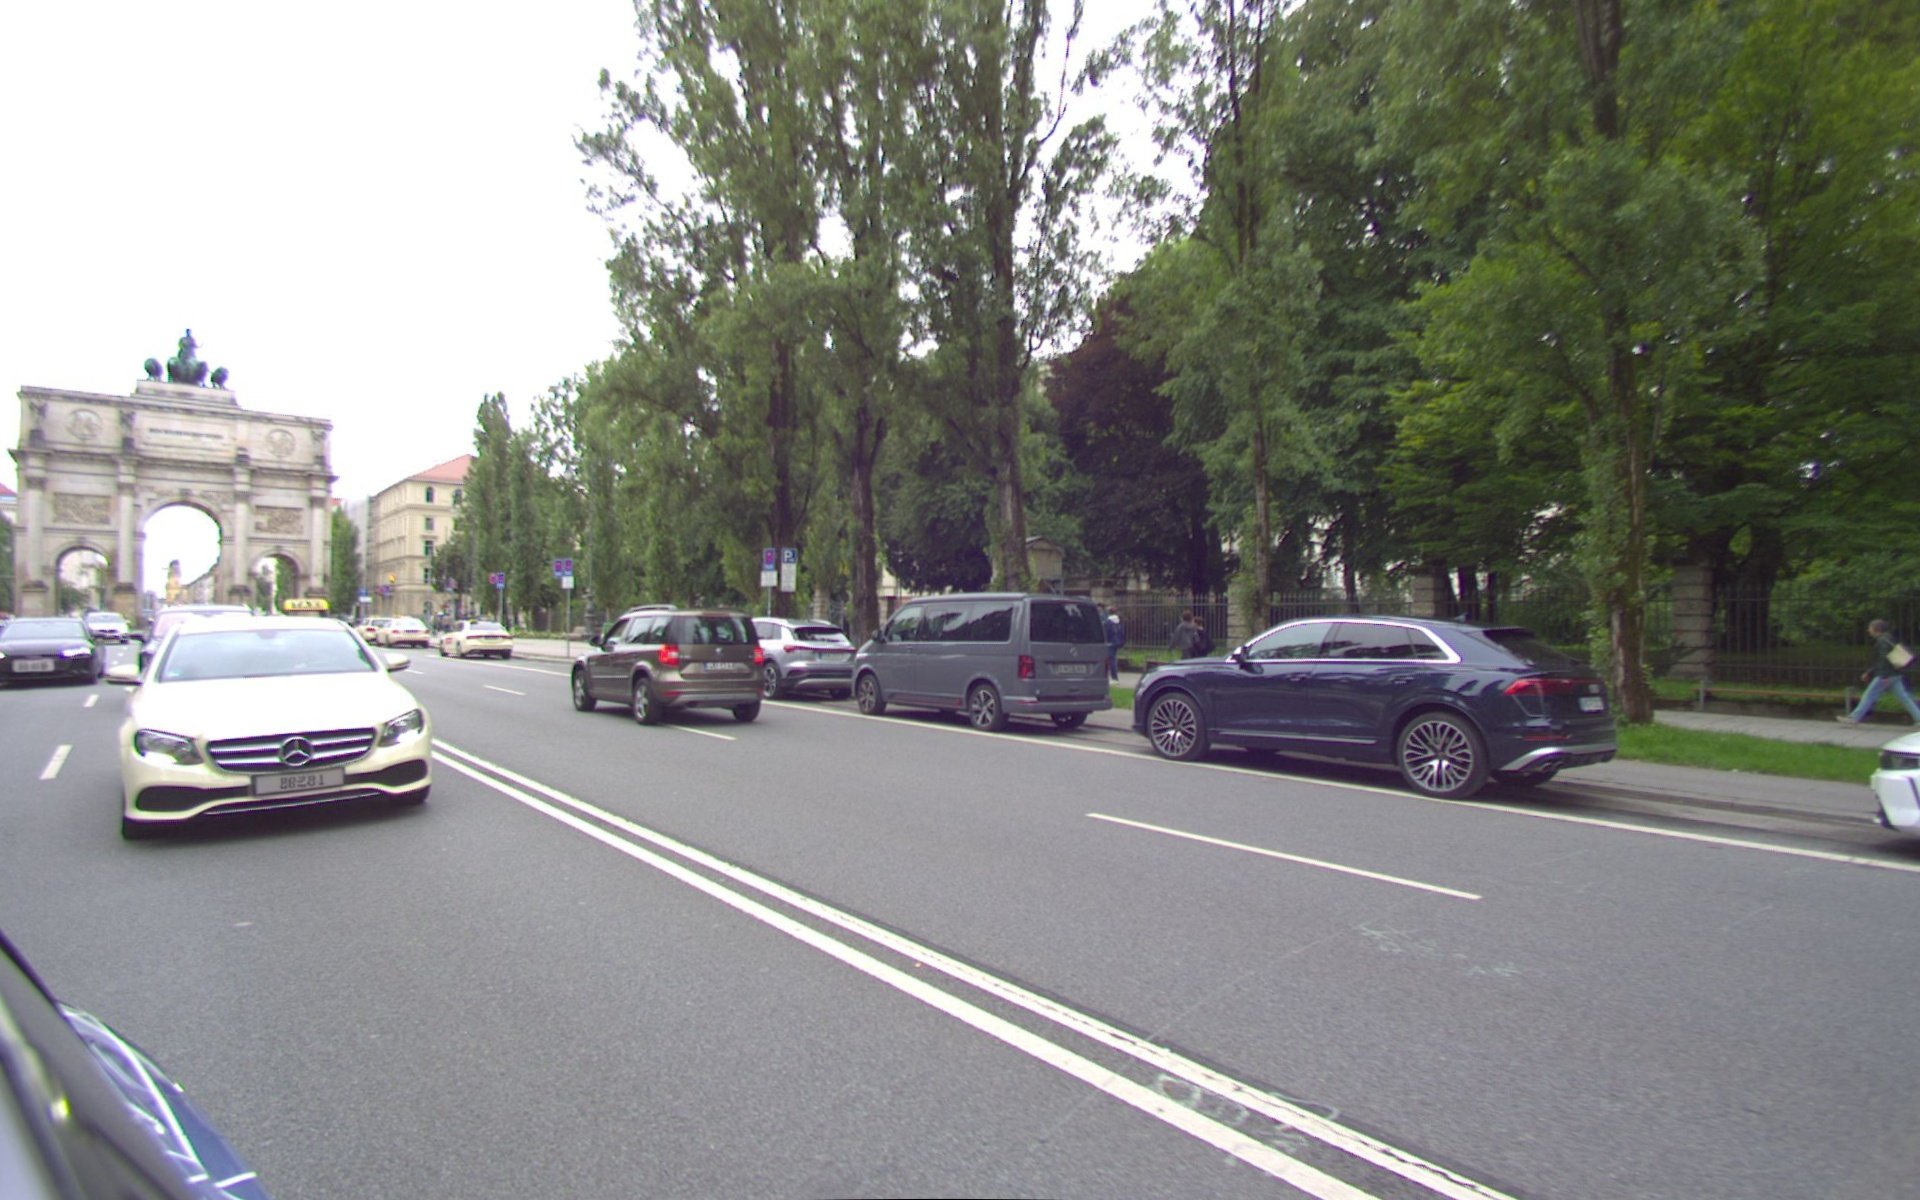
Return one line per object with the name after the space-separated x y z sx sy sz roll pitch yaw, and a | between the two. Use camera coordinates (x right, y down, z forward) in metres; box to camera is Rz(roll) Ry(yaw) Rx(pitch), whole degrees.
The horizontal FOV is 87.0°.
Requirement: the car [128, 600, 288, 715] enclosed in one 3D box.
-12.708 0.852 17.013 1.924 1.636 4.419 -1 0 -39 | car

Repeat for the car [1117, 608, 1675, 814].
4.157 0.959 10.510 1.792 1.621 5.062 4 -3 -39 | car

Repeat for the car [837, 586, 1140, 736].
0.260 0.894 15.851 1.968 1.971 4.946 3 -3 -39 | car

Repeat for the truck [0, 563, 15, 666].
-29.417 0.415 28.897 2.679 3.134 10.445 2 -2 -39 | truck

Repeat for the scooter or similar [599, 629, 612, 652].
-18.858 2.152 53.839 0.240 1.210 1.124 1 -2 -39 | scooter or similar

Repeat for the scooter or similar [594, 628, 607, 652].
-19.067 2.097 53.674 0.255 1.251 1.143 1 -2 -38 | scooter or similar

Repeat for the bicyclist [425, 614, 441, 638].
-33.280 1.641 63.920 0.685 1.510 0.863 2 -2 -40 | bicyclist

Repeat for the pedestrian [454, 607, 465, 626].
-55.145 1.813 111.419 0.749 2.029 0.790 0 -2 16 | pedestrian

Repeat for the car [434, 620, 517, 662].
-18.891 1.581 39.348 1.906 1.509 4.799 2 -3 -38 | car

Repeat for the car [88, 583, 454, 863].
-5.658 0.717 8.221 1.890 1.587 4.699 -1 0 -38 | car

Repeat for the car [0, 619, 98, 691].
-19.833 1.123 21.823 1.894 1.338 4.418 -1 0 -41 | car

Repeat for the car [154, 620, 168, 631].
-153.962 4.940 195.083 1.968 2.029 4.402 1 -2 -39 | car

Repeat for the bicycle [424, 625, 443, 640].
-33.279 2.062 63.911 0.698 0.946 1.738 1 -1 -40 | bicycle

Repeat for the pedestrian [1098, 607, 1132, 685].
3.571 1.046 23.315 0.542 1.761 0.533 1 -1 -40 | pedestrian

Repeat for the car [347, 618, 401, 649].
-32.534 1.846 56.105 1.795 1.571 4.867 4 -3 -39 | car

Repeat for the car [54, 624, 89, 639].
-103.174 3.675 117.554 1.757 1.763 4.334 1 -2 -23 | car

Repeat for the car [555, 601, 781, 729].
-4.538 0.915 15.371 1.762 1.669 4.120 3 -3 -39 | car

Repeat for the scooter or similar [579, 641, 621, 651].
-20.485 2.625 57.637 1.318 0.522 2.229 0 -2 10 | scooter or similar

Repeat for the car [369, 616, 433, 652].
-28.031 1.673 50.681 1.913 1.637 4.974 2 -2 -39 | car

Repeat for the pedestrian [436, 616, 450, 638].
-40.548 2.093 79.417 0.833 1.691 0.969 1 -2 -33 | pedestrian

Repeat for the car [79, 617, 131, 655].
-43.588 1.812 51.659 1.861 1.871 4.321 1 -2 -38 | car

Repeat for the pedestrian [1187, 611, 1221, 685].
5.622 1.100 23.347 0.542 1.682 0.533 1 -1 -40 | pedestrian

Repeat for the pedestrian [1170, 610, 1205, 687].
5.147 1.087 22.879 0.542 1.714 0.533 1 -1 -40 | pedestrian

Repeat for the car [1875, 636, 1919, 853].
8.218 0.978 5.776 1.655 1.433 4.245 3 -3 -39 | car

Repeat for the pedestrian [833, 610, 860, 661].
-3.806 1.177 33.985 0.610 1.672 0.706 1 -2 -38 | pedestrian

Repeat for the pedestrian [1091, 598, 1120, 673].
3.854 0.933 26.800 0.542 1.974 0.533 1 -1 -40 | pedestrian

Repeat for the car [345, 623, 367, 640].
-62.860 3.270 105.296 1.757 1.684 4.010 1 -2 -35 | car

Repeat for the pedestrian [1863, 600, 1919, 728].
13.264 0.886 14.287 0.542 1.761 0.674 1 -1 -40 | pedestrian

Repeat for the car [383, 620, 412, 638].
-60.371 3.093 108.604 1.973 1.869 5.001 3 -2 -37 | car

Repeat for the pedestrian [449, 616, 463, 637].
-39.693 2.093 79.658 0.833 1.691 0.969 1 -2 -33 | pedestrian

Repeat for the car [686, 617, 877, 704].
-3.832 1.193 21.100 1.866 1.596 4.662 3 -3 -39 | car

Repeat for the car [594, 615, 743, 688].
-7.179 1.234 24.638 1.759 1.608 4.621 4 -4 -39 | car
